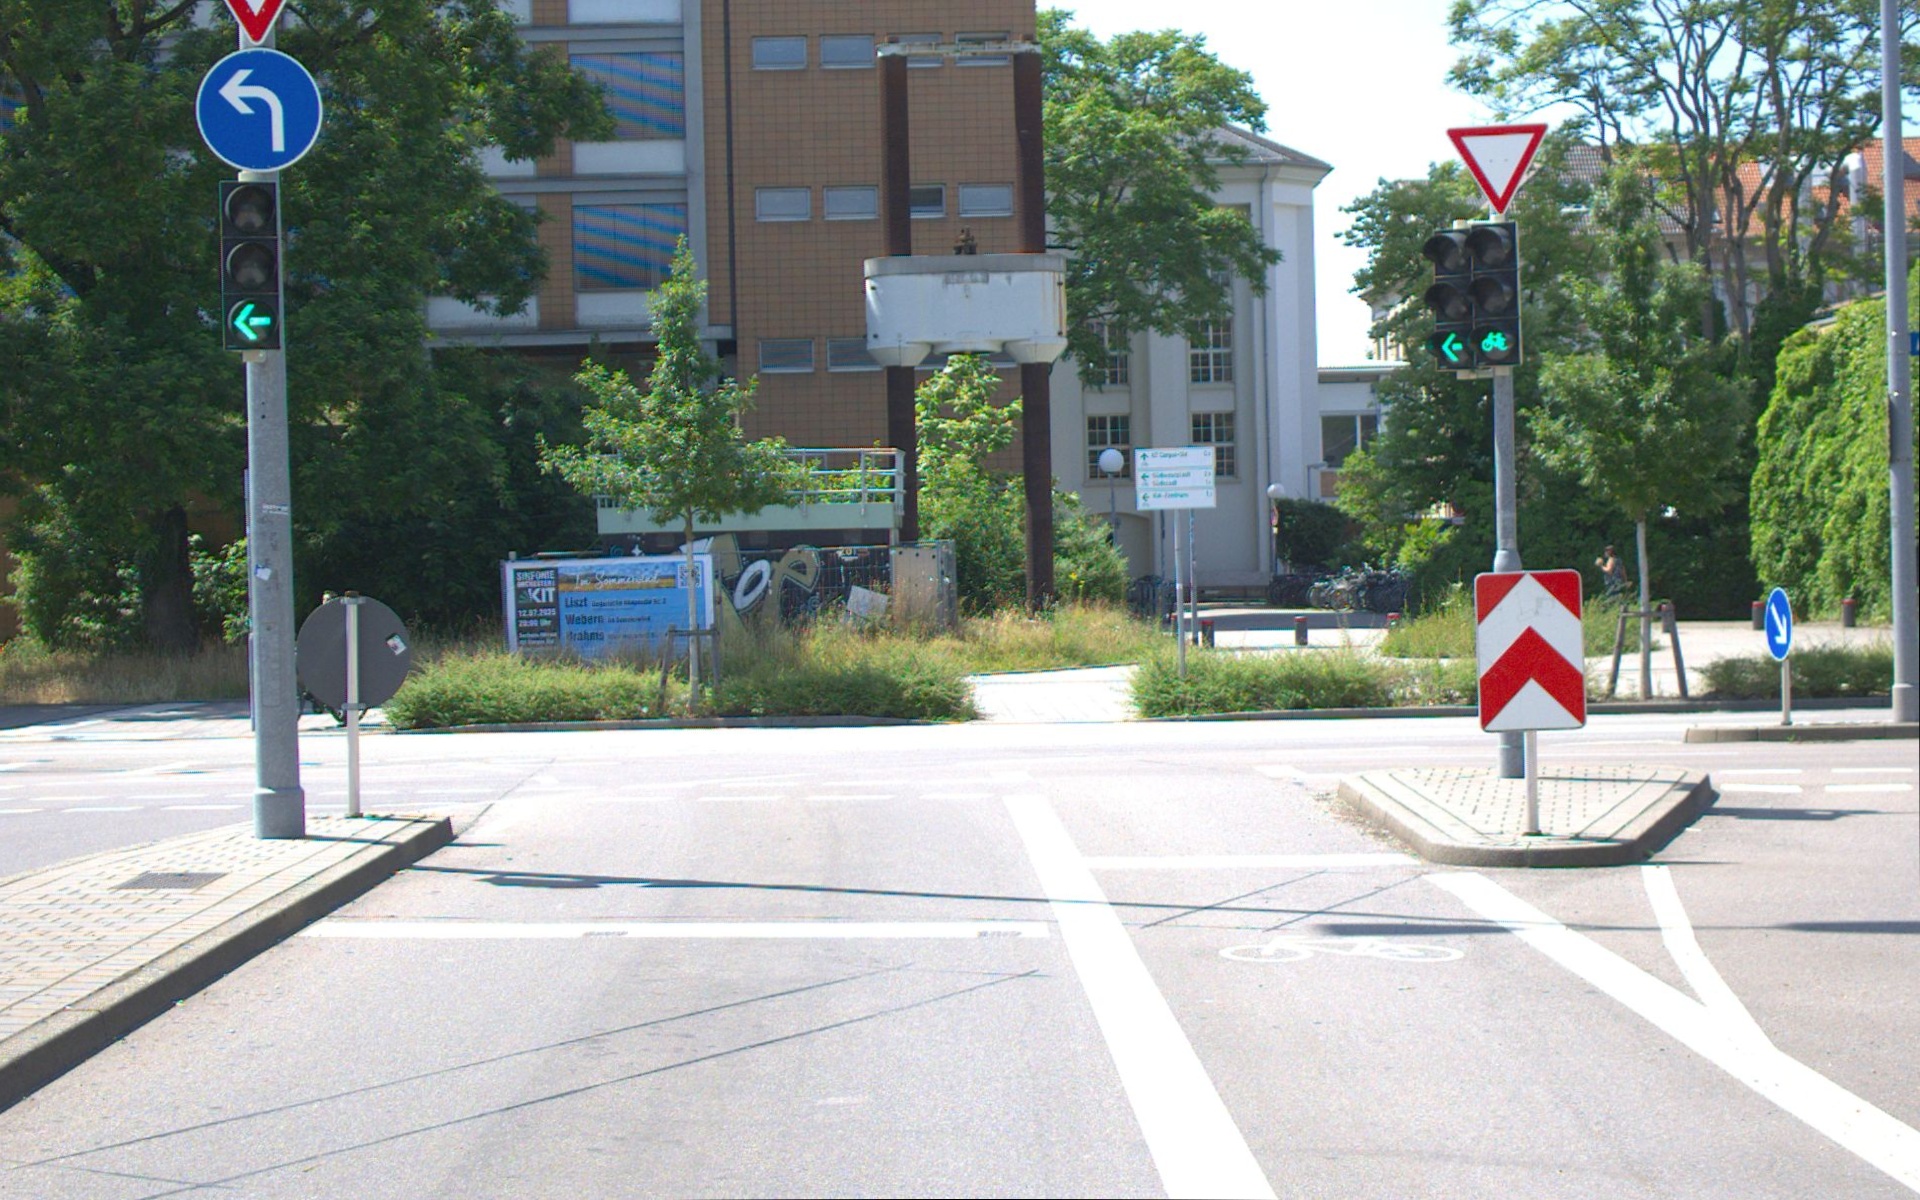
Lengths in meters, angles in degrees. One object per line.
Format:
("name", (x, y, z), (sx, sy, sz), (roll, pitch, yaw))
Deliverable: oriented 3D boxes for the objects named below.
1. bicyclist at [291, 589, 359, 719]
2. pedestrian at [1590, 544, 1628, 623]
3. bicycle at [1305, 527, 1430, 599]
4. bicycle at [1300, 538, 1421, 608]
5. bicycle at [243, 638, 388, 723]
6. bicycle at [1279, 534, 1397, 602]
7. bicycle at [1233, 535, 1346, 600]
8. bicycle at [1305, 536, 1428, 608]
("bicyclist", (-8.583, 0.721, 46.473), (0.551, 1.710, 0.701), (1, 2, 40))
("pedestrian", (13.710, -0.349, 72.633), (0.639, 1.660, 0.707), (1, 0, -2))
("bicycle", (11.603, -1.049, 97.876), (3.447, 2.007, 0.760), (1, 0, 1))
("bicycle", (11.745, -0.806, 100.919), (3.447, 2.007, 0.760), (1, 0, 1))
("bicycle", (-8.679, 1.074, 46.369), (0.558, 1.042, 1.992), (1, 2, 41))
("bicycle", (11.335, -0.959, 103.079), (3.447, 2.007, 0.760), (1, 0, 1))
("bicycle", (10.326, -1.014, 107.688), (3.447, 2.007, 0.760), (1, 0, 1))
("bicycle", (11.679, -0.802, 98.881), (3.447, 2.007, 0.760), (1, 0, 1))
